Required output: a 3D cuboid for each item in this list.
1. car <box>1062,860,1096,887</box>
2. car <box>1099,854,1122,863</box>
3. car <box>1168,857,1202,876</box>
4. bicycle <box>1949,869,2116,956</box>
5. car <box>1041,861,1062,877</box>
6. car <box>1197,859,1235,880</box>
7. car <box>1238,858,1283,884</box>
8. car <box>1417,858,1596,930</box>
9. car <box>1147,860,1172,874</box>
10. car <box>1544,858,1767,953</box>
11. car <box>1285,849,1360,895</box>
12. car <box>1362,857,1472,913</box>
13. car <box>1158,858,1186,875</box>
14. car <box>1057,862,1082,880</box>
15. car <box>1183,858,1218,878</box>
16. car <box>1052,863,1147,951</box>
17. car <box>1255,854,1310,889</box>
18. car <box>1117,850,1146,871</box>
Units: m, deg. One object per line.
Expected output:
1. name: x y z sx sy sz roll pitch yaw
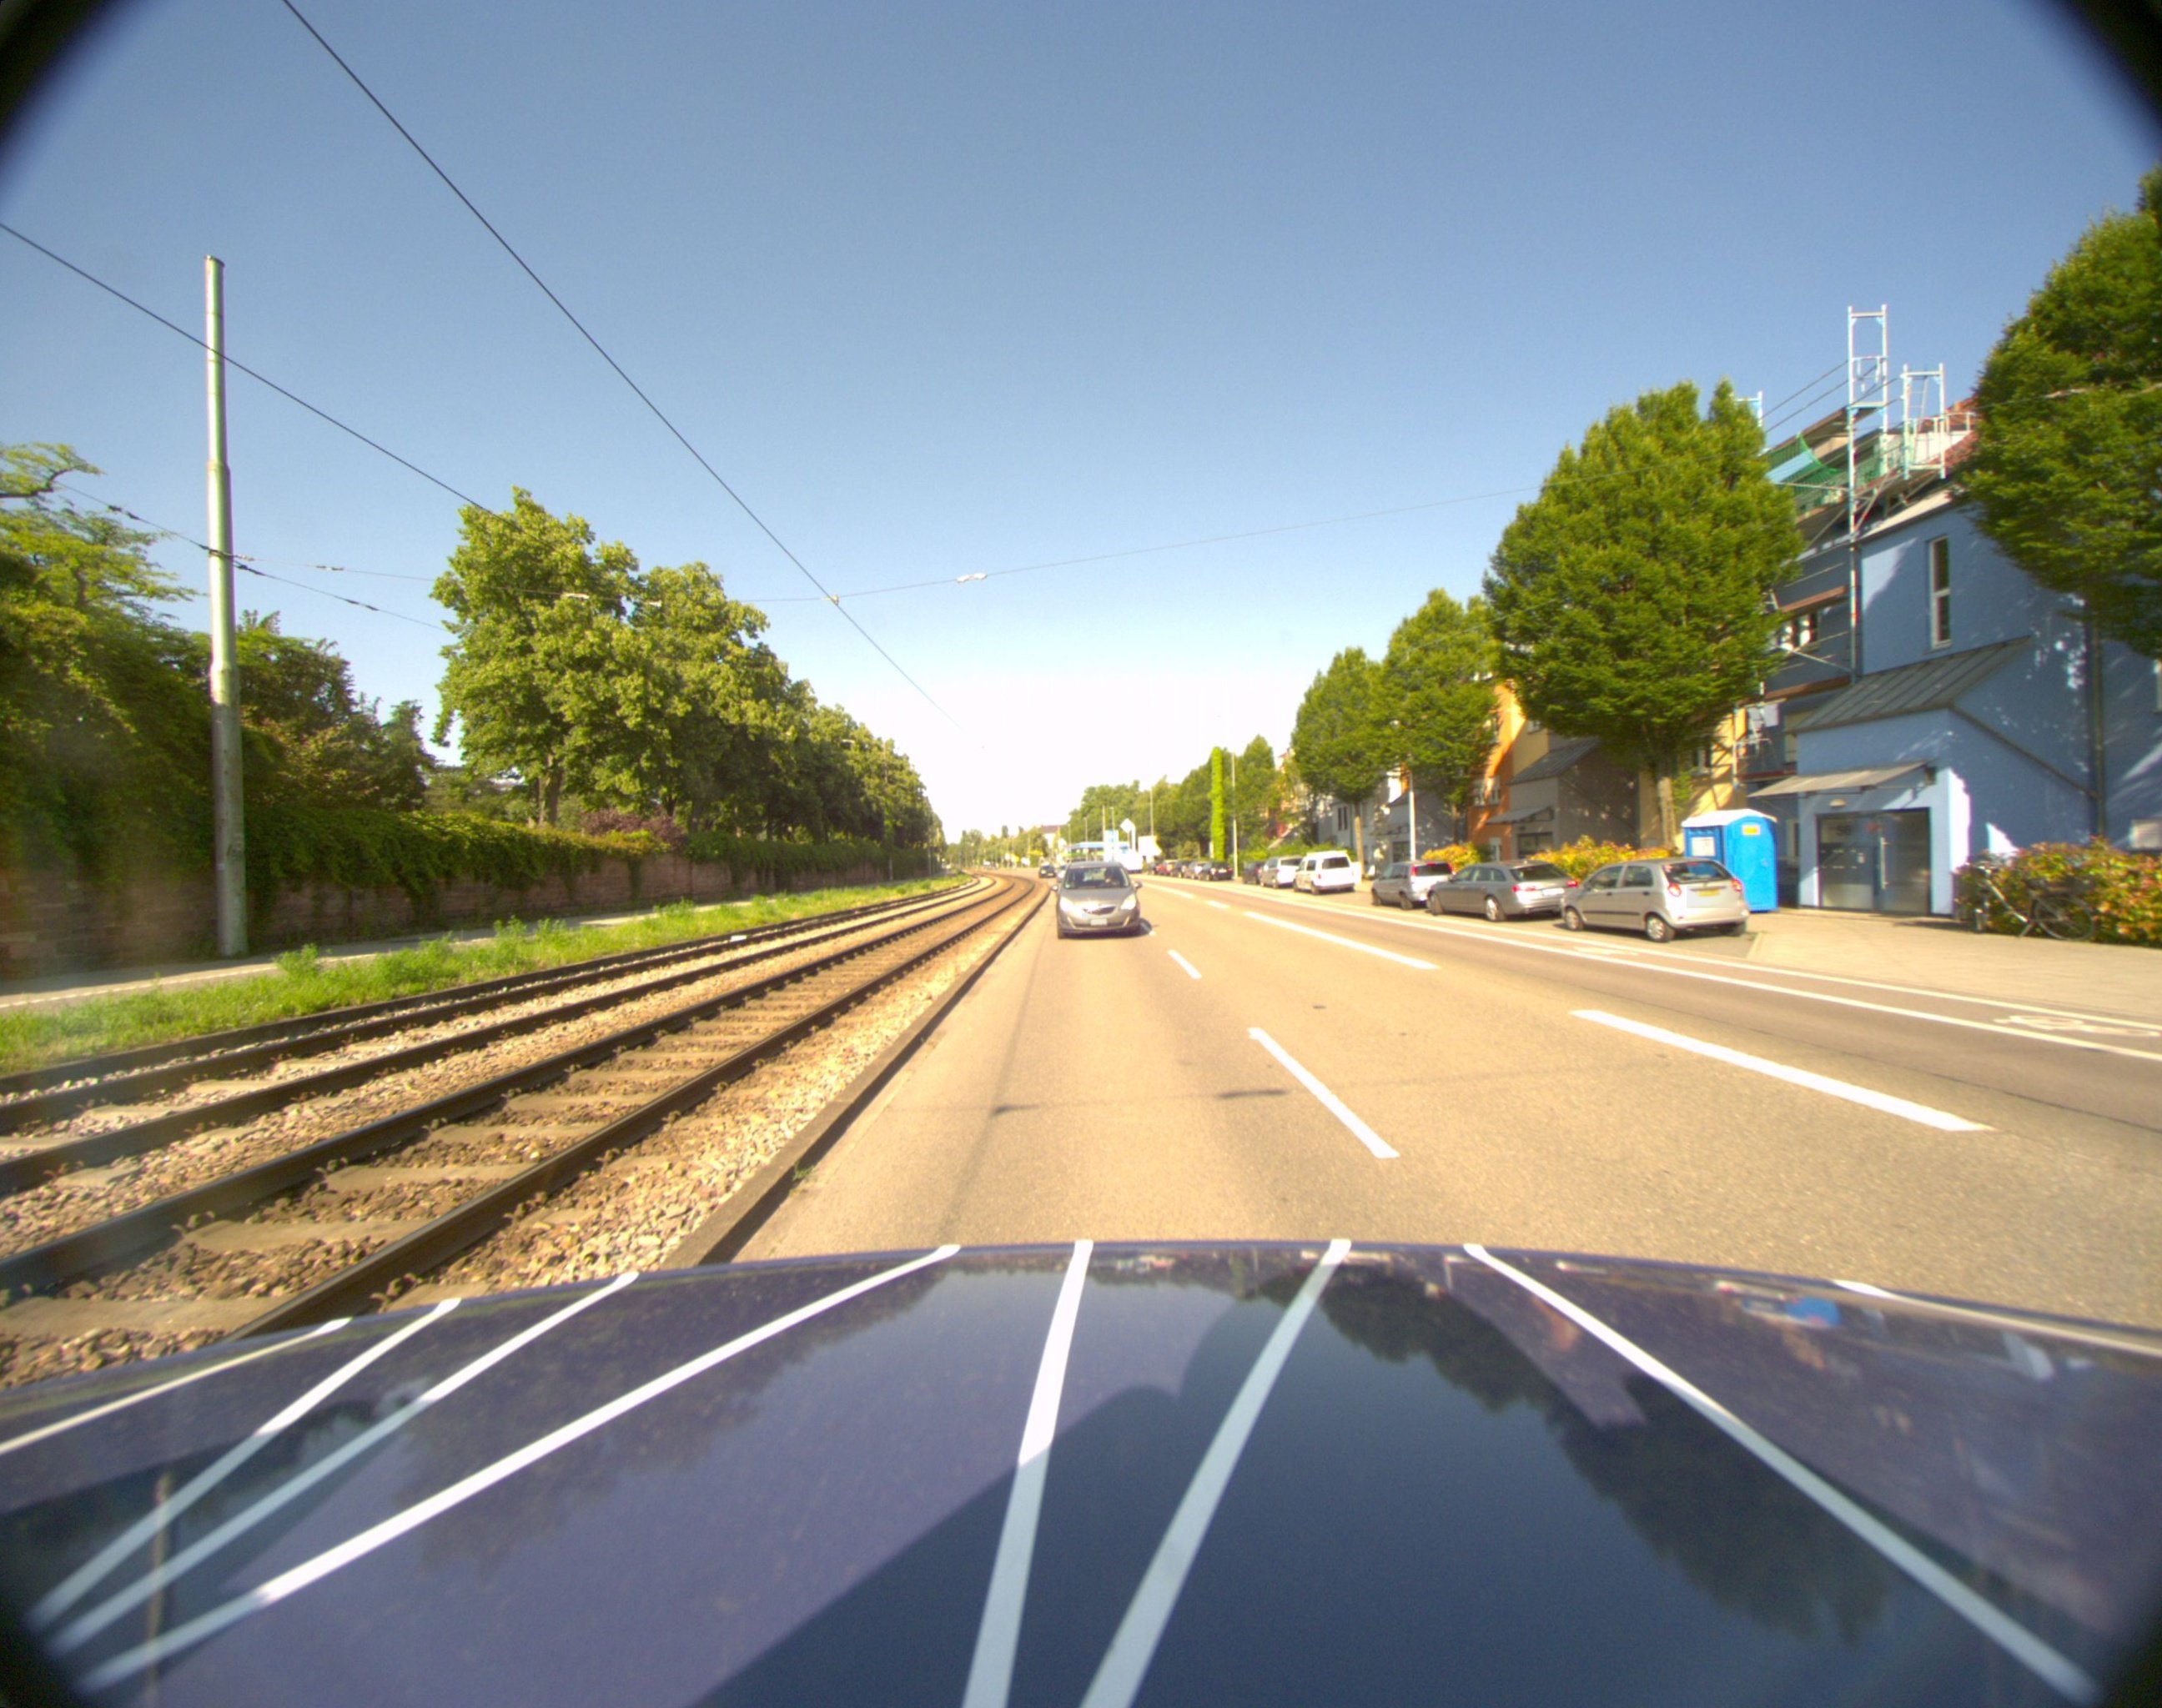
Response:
1. car: -0.149 1.165 46.654 1.710 1.487 3.998 -3 0 -4
2. car: 7.103 1.138 183.223 5.086 1.929 1.856 -1 0 -5
3. car: 9.449 1.121 69.419 1.768 1.564 4.433 -3 0 -10
4. bicycle: 14.196 0.827 11.416 0.444 1.147 1.785 -1 1 7
5. car: -3.193 1.576 80.884 1.711 1.581 3.997 -3 0 -8
6. car: 10.270 1.142 58.150 1.714 1.463 4.908 -4 0 -2
7. car: 11.008 0.999 46.875 1.620 1.457 4.057 -3 0 -2
8. car: 10.933 0.936 20.008 1.753 1.502 4.754 -6 0 -2
9. car: 8.307 1.367 80.582 1.657 1.416 4.710 -1 0 -7
10. car: 11.050 0.902 14.957 1.605 1.486 3.509 -6 0 0
11. car: 11.108 0.796 35.262 1.767 1.835 4.579 -6 0 -2
12. car: 10.977 0.943 25.145 1.767 1.530 3.981 -6 0 1
13. car: 8.950 1.195 75.284 1.768 1.565 4.159 -2 0 -7
14. car: -0.913 1.301 58.933 1.579 1.306 3.998 -3 0 -5
15. car: 10.000 1.114 64.081 1.717 1.463 4.842 -3 1 -5
16. car: 0.348 1.027 16.202 1.730 1.573 3.763 -2 0 0
17. car: 10.915 0.904 41.486 1.672 1.691 4.824 -3 0 0
18. car: 6.244 0.876 95.396 2.159 2.443 6.179 -4 0 -10
